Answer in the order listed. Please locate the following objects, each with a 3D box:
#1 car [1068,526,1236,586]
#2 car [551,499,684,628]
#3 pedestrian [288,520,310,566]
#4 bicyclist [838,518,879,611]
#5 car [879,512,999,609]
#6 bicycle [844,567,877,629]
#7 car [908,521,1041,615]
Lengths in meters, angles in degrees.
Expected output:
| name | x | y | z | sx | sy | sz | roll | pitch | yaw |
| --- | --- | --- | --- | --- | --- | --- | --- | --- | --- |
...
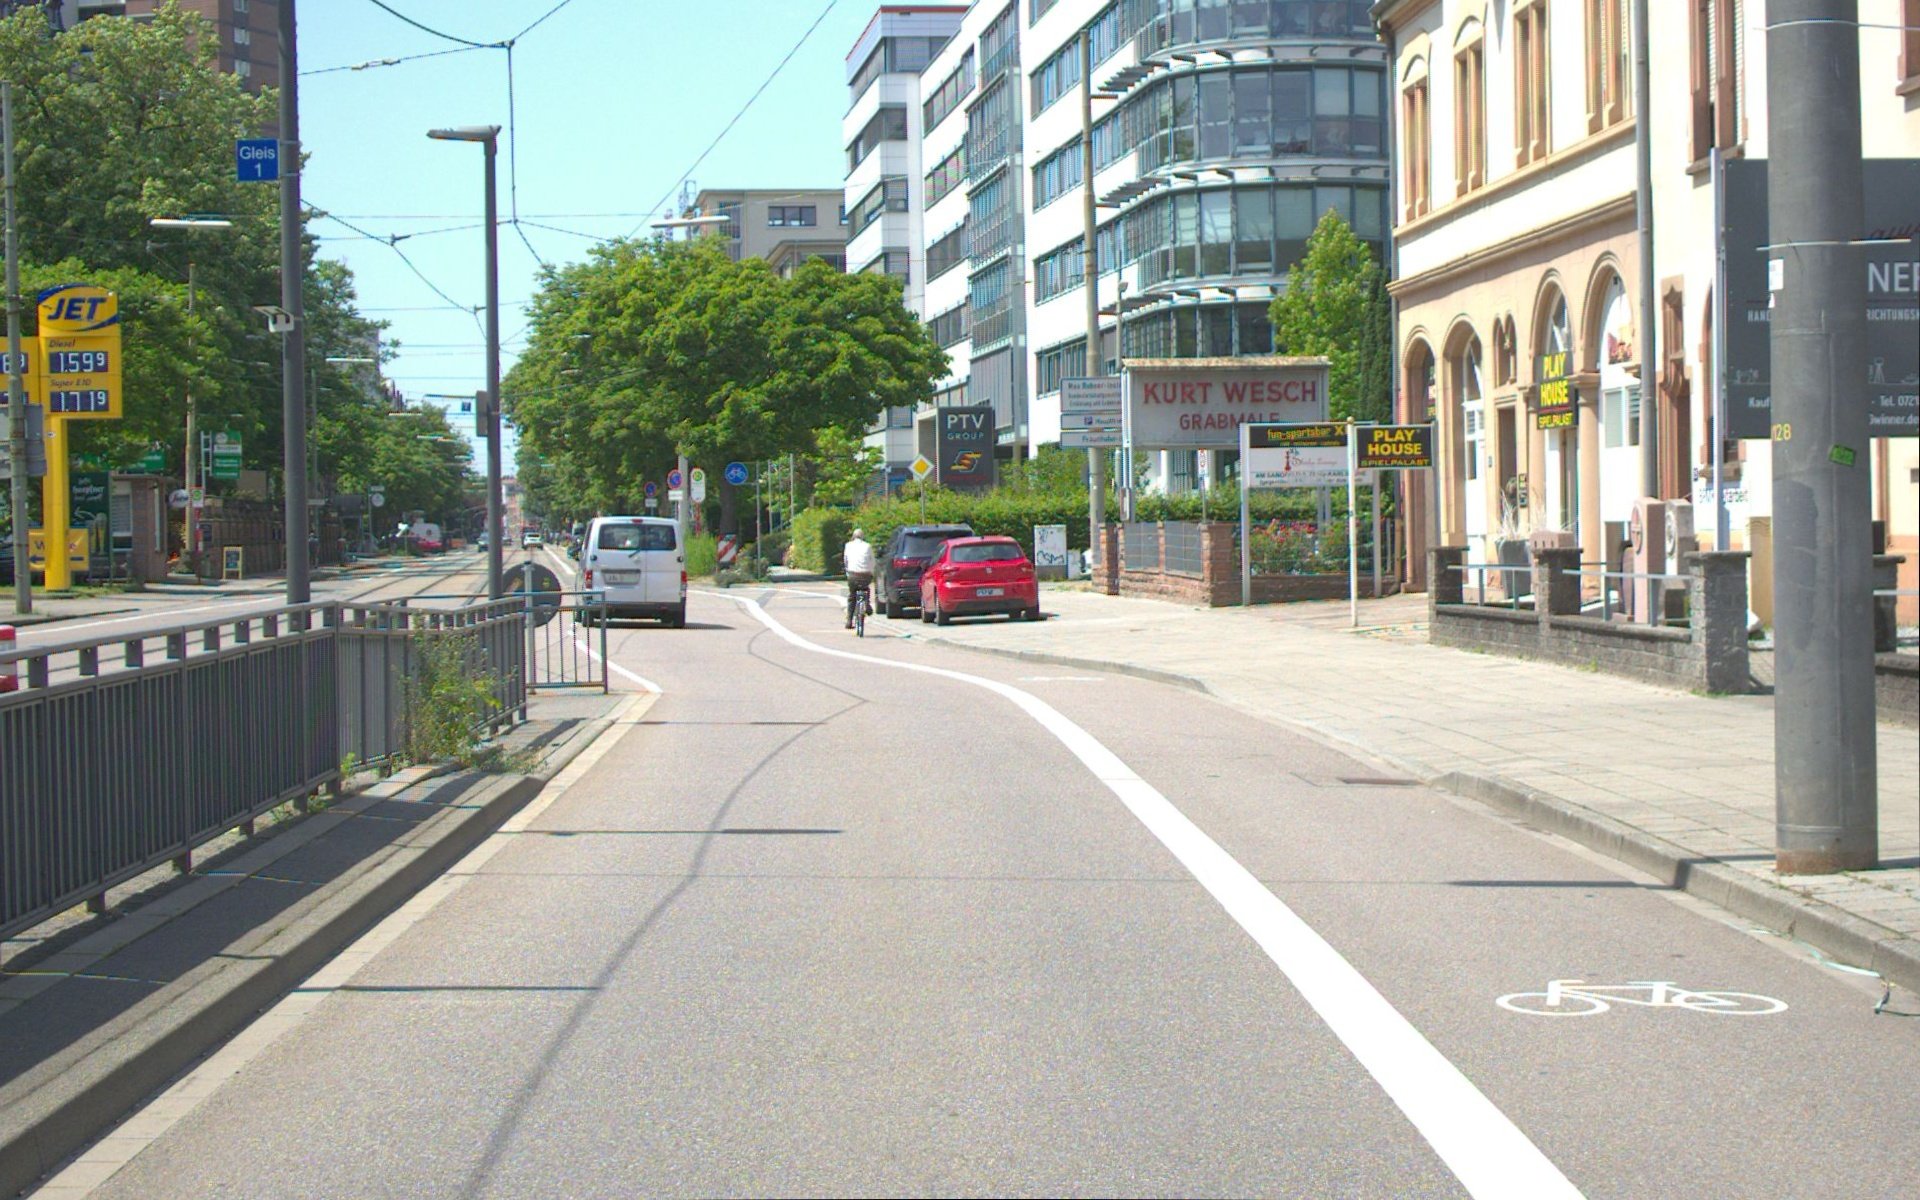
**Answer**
| name | x | y | z | sx | sy | sz | roll | pitch | yaw |
| --- | --- | --- | --- | --- | --- | --- | --- | --- | --- |
| car | 4.602 | -1.066 | 82.778 | 3.798 | 1.270 | 1.556 | -2 | 2 | -6 |
| car | -5.808 | -0.654 | 57.920 | 1.752 | 2.006 | 4.001 | -2 | 2 | -12 |
| pedestrian | -29.607 | -2.561 | 154.053 | 0.863 | 2.007 | 0.646 | -3 | 1 | -9 |
| bicyclist | -1.556 | -0.547 | 52.370 | 0.591 | 1.392 | 0.842 | -1 | 2 | -3 |
| car | -0.431 | -0.783 | 64.442 | 1.863 | 1.681 | 5.001 | -2 | 2 | -4 |
| bicycle | -1.522 | -0.034 | 52.402 | 0.465 | 0.884 | 2.048 | -1 | 2 | -2 |
| car | 0.211 | -0.569 | 58.313 | 1.711 | 1.447 | 4.073 | -3 | 2 | -7 |
